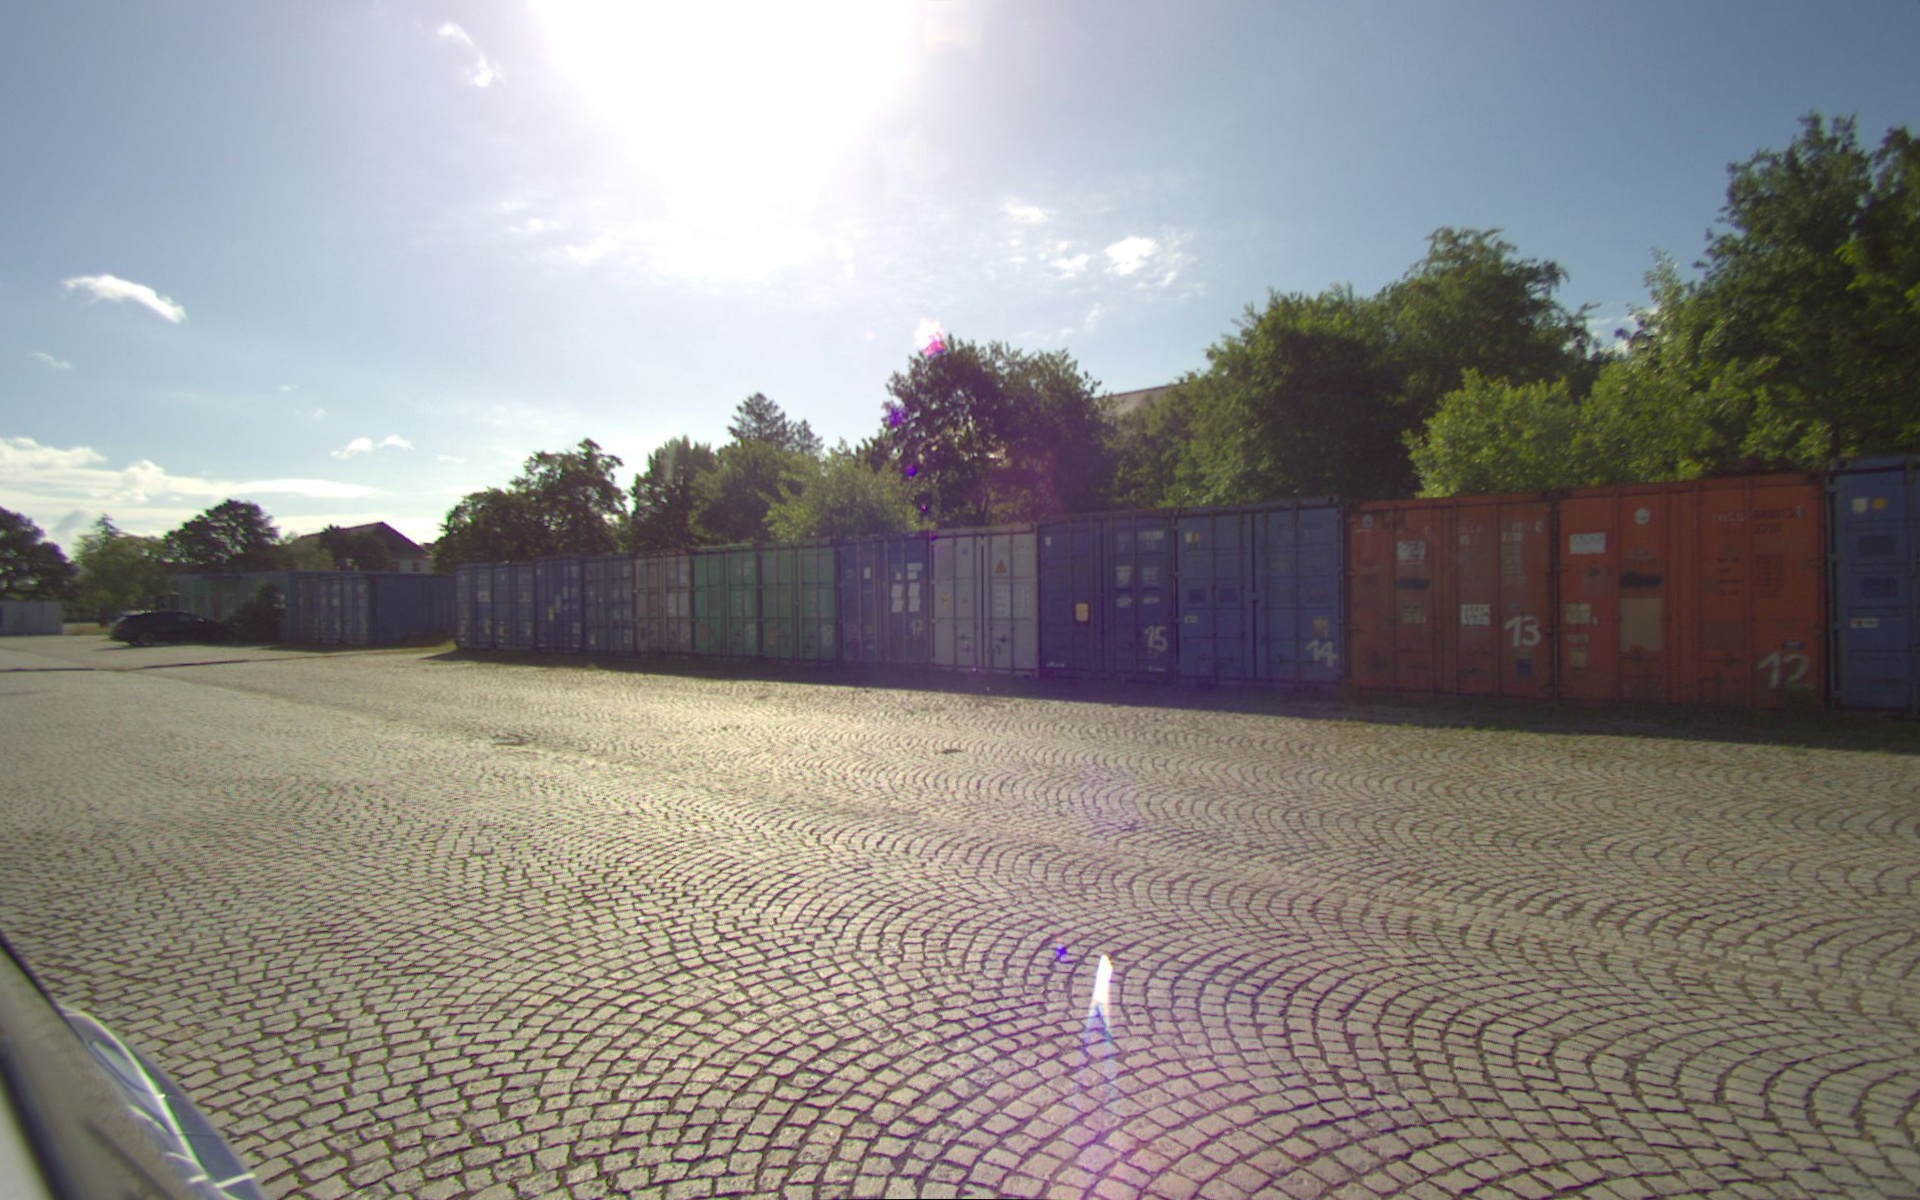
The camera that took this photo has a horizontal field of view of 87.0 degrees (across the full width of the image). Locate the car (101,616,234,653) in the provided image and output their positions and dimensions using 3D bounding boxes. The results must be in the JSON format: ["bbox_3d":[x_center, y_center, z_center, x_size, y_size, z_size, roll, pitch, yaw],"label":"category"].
[{"bbox_3d":[-33.597,1.432,42.977,1.998,1.306,4.062,-1,2,39],"label":"car"}]
